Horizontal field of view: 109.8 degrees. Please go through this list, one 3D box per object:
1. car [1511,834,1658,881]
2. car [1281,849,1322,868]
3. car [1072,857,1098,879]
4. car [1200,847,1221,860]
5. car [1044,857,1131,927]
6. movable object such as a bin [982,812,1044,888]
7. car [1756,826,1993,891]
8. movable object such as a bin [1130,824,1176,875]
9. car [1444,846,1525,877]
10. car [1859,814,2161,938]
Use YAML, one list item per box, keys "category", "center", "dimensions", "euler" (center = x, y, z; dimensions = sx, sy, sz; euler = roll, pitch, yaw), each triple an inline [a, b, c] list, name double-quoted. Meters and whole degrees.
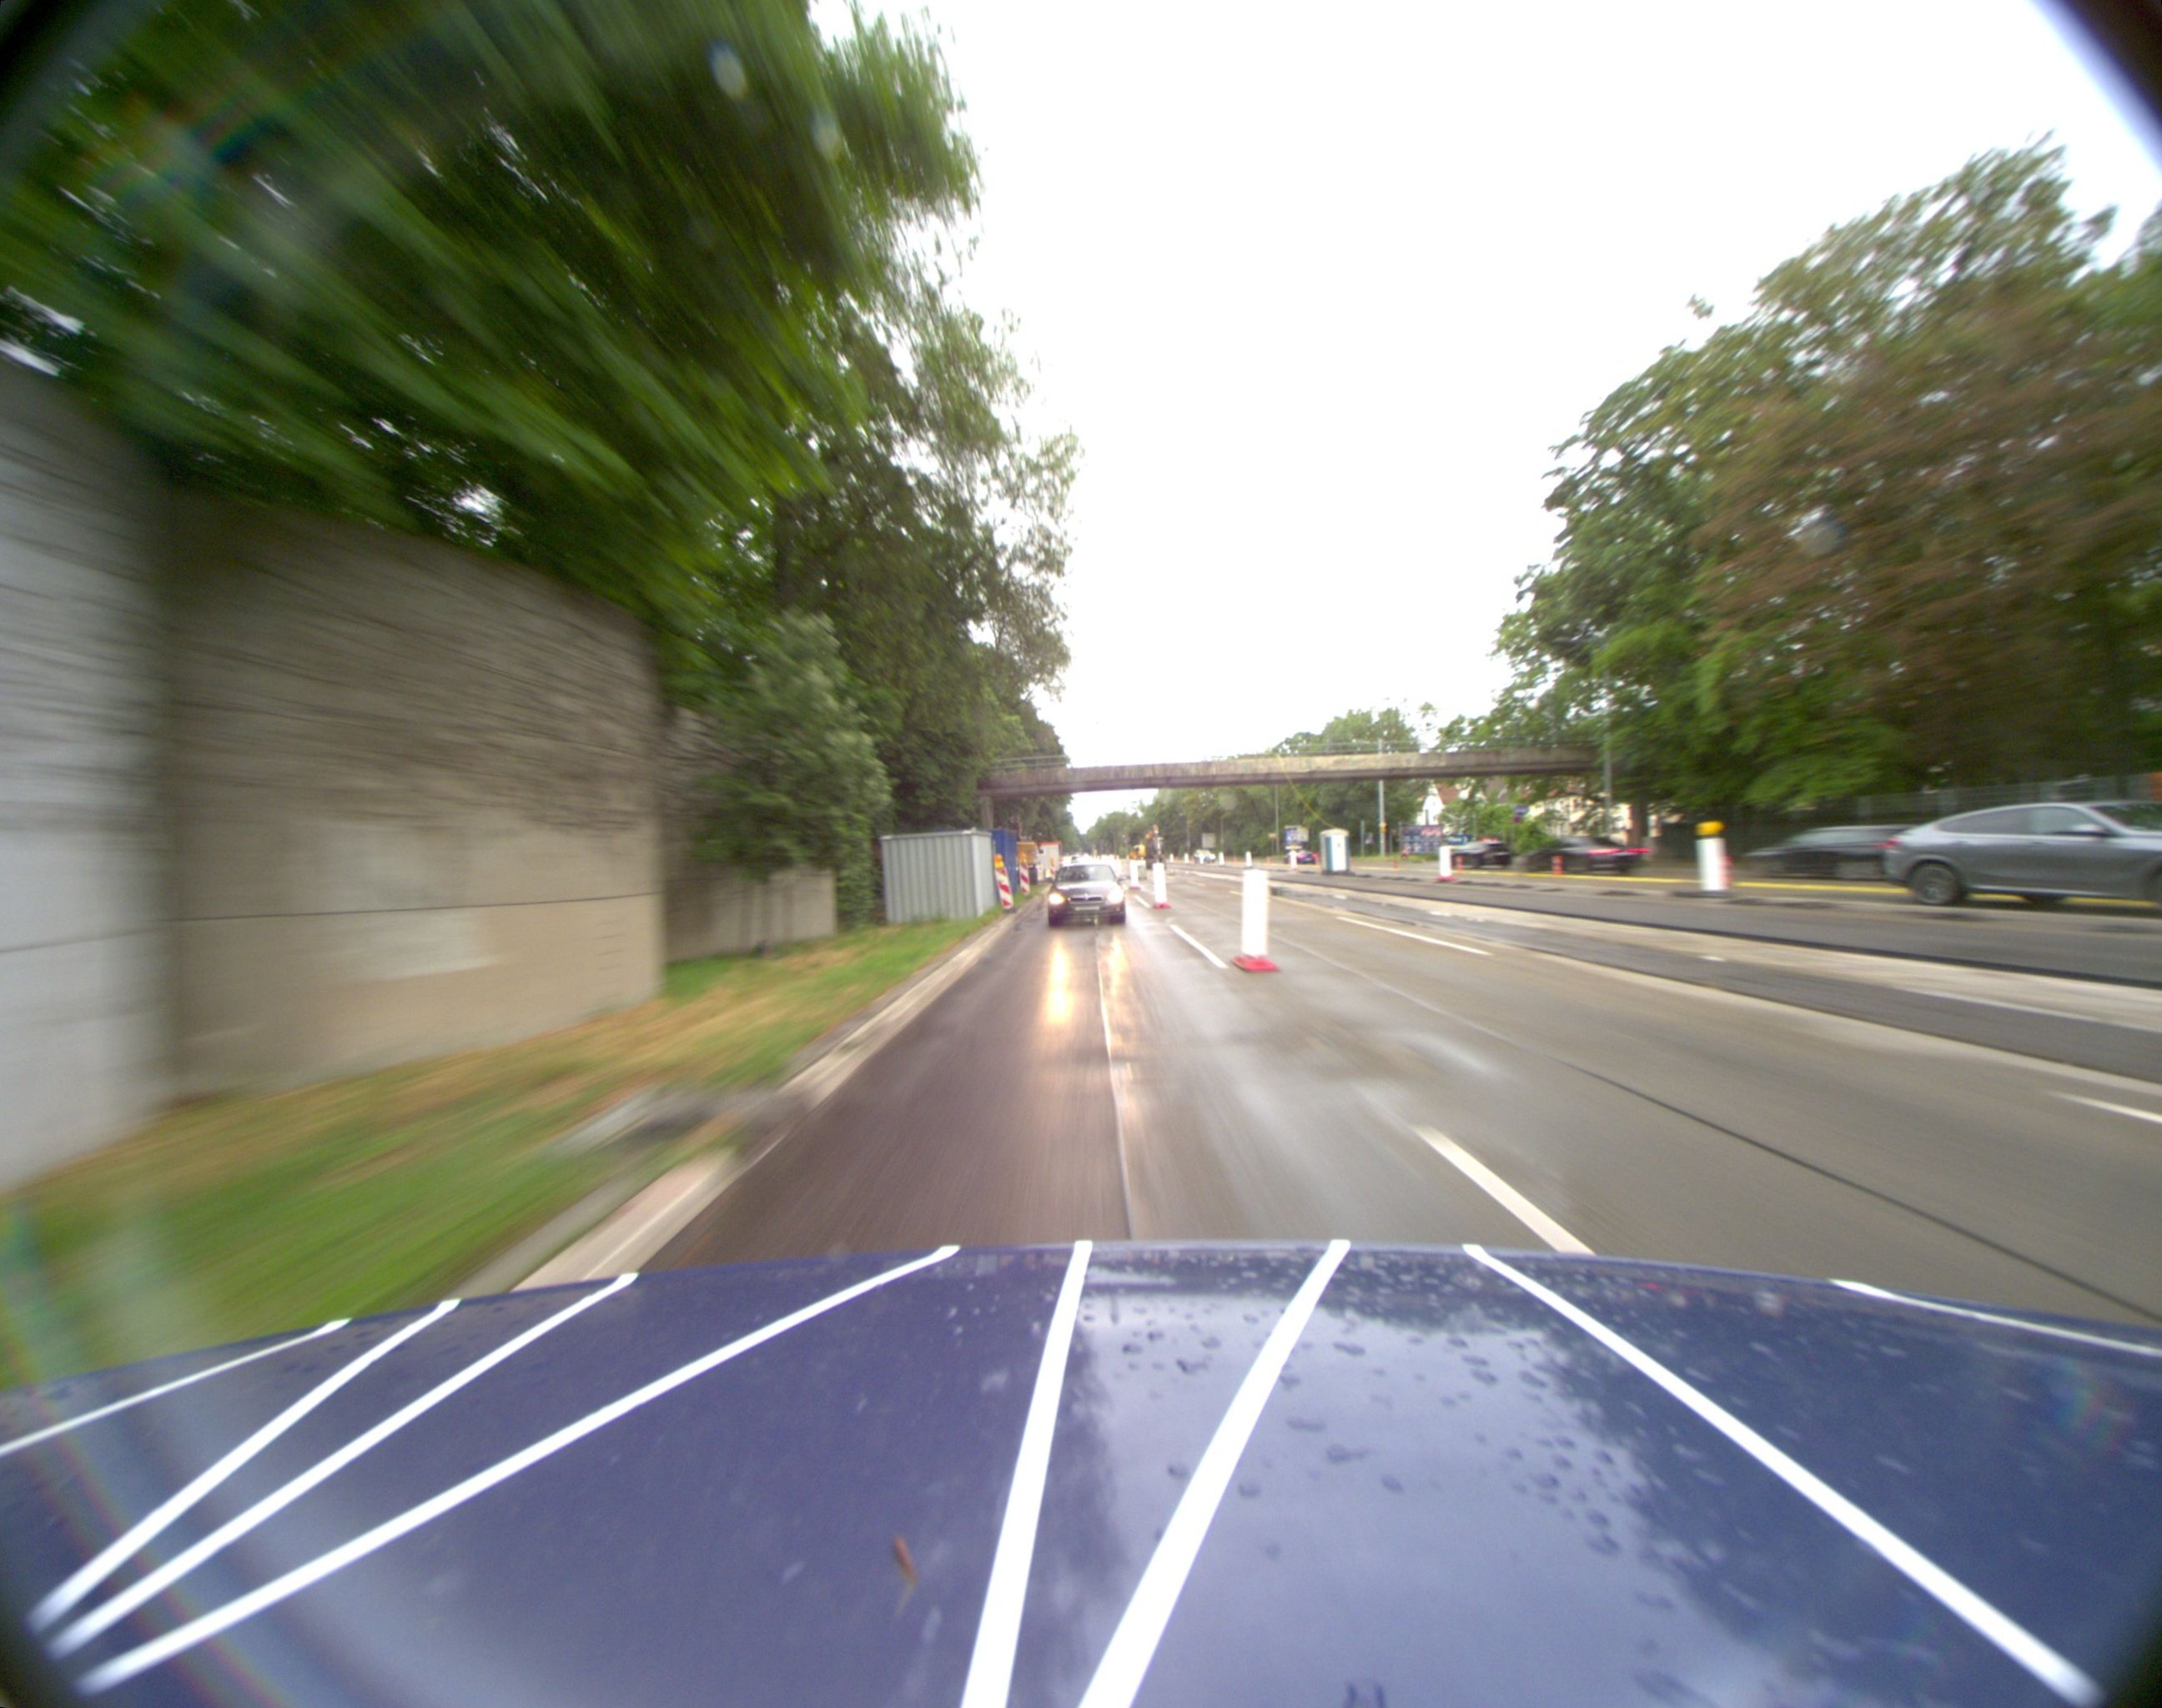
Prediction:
- category: "car"
  center: [18.520, 0.129, 28.309]
  dimensions: [2.083, 1.504, 5.089]
  euler: [-3, 0, 1]
- category: "car"
  center: [18.818, 0.356, 65.078]
  dimensions: [1.999, 1.451, 4.883]
  euler: [-3, 1, 0]
- category: "car"
  center: [0.365, 1.124, 63.277]
  dimensions: [1.998, 1.650, 4.229]
  euler: [-3, 1, 1]
- category: "car"
  center: [19.356, -0.125, 113.945]
  dimensions: [2.221, 1.729, 5.055]
  euler: [-3, 1, 0]
- category: "car"
  center: [0.108, 0.843, 18.662]
  dimensions: [1.838, 1.397, 3.999]
  euler: [-3, 1, -1]
- category: "movable object such as a bin"
  center: [-3.758, -0.239, 43.388]
  dimensions: [2.890, 3.917, 6.104]
  euler: [-3, 1, -1]
- category: "car"
  center: [21.453, 0.090, 20.854]
  dimensions: [1.998, 1.509, 4.304]
  euler: [-3, 1, 1]
- category: "movable object such as a bin"
  center: [6.960, -0.472, 75.307]
  dimensions: [3.526, 4.495, 10.069]
  euler: [-3, 1, 1]
- category: "car"
  center: [21.241, 0.360, 40.200]
  dimensions: [1.998, 1.340, 4.565]
  euler: [-3, 2, 3]
- category: "car"
  center: [15.317, 0.255, 11.398]
  dimensions: [2.082, 1.604, 5.055]
  euler: [-3, 1, 0]
